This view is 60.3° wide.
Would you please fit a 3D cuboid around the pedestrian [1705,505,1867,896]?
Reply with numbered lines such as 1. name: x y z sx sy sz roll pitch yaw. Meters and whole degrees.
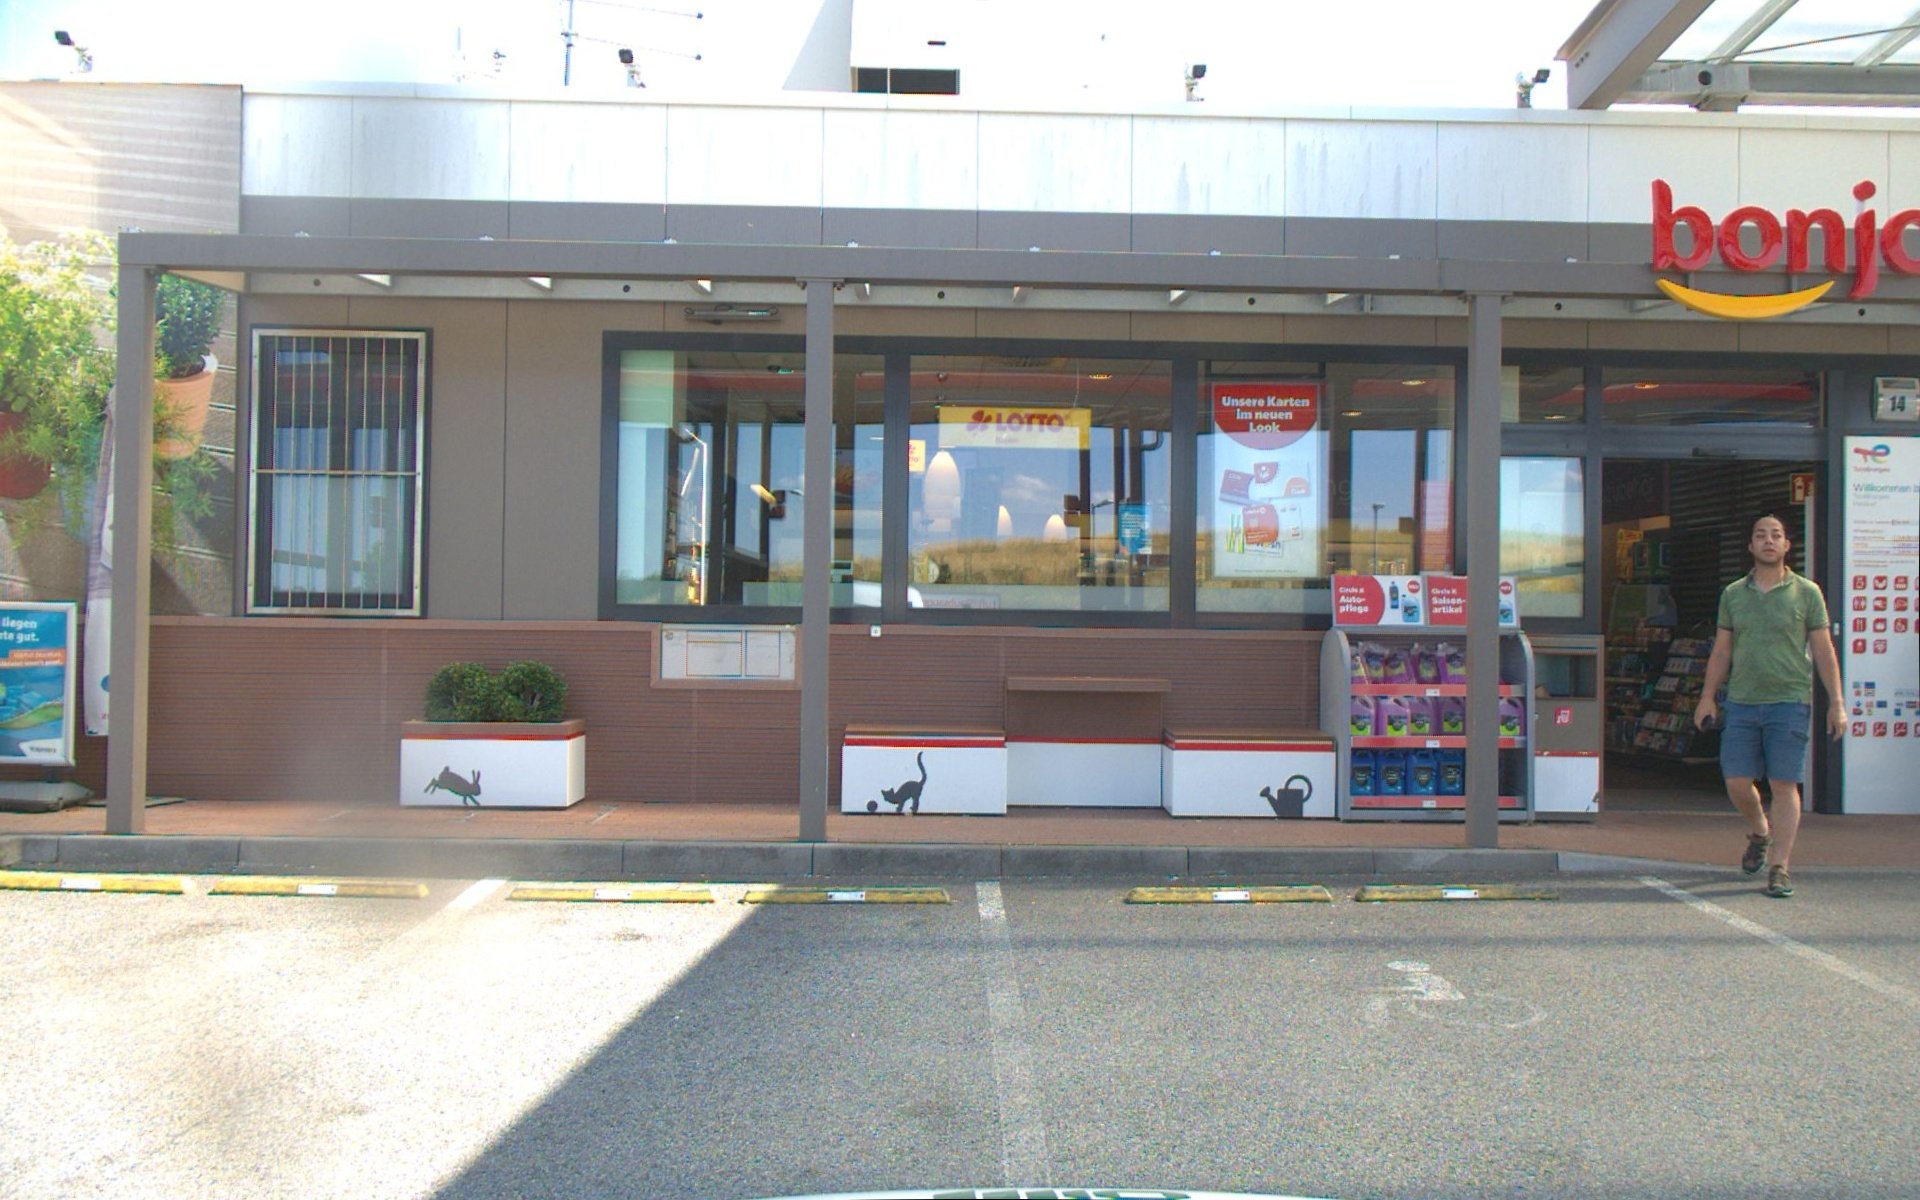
1. pedestrian: 4.107 0.468 8.272 0.687 1.829 0.862 0 0 25
